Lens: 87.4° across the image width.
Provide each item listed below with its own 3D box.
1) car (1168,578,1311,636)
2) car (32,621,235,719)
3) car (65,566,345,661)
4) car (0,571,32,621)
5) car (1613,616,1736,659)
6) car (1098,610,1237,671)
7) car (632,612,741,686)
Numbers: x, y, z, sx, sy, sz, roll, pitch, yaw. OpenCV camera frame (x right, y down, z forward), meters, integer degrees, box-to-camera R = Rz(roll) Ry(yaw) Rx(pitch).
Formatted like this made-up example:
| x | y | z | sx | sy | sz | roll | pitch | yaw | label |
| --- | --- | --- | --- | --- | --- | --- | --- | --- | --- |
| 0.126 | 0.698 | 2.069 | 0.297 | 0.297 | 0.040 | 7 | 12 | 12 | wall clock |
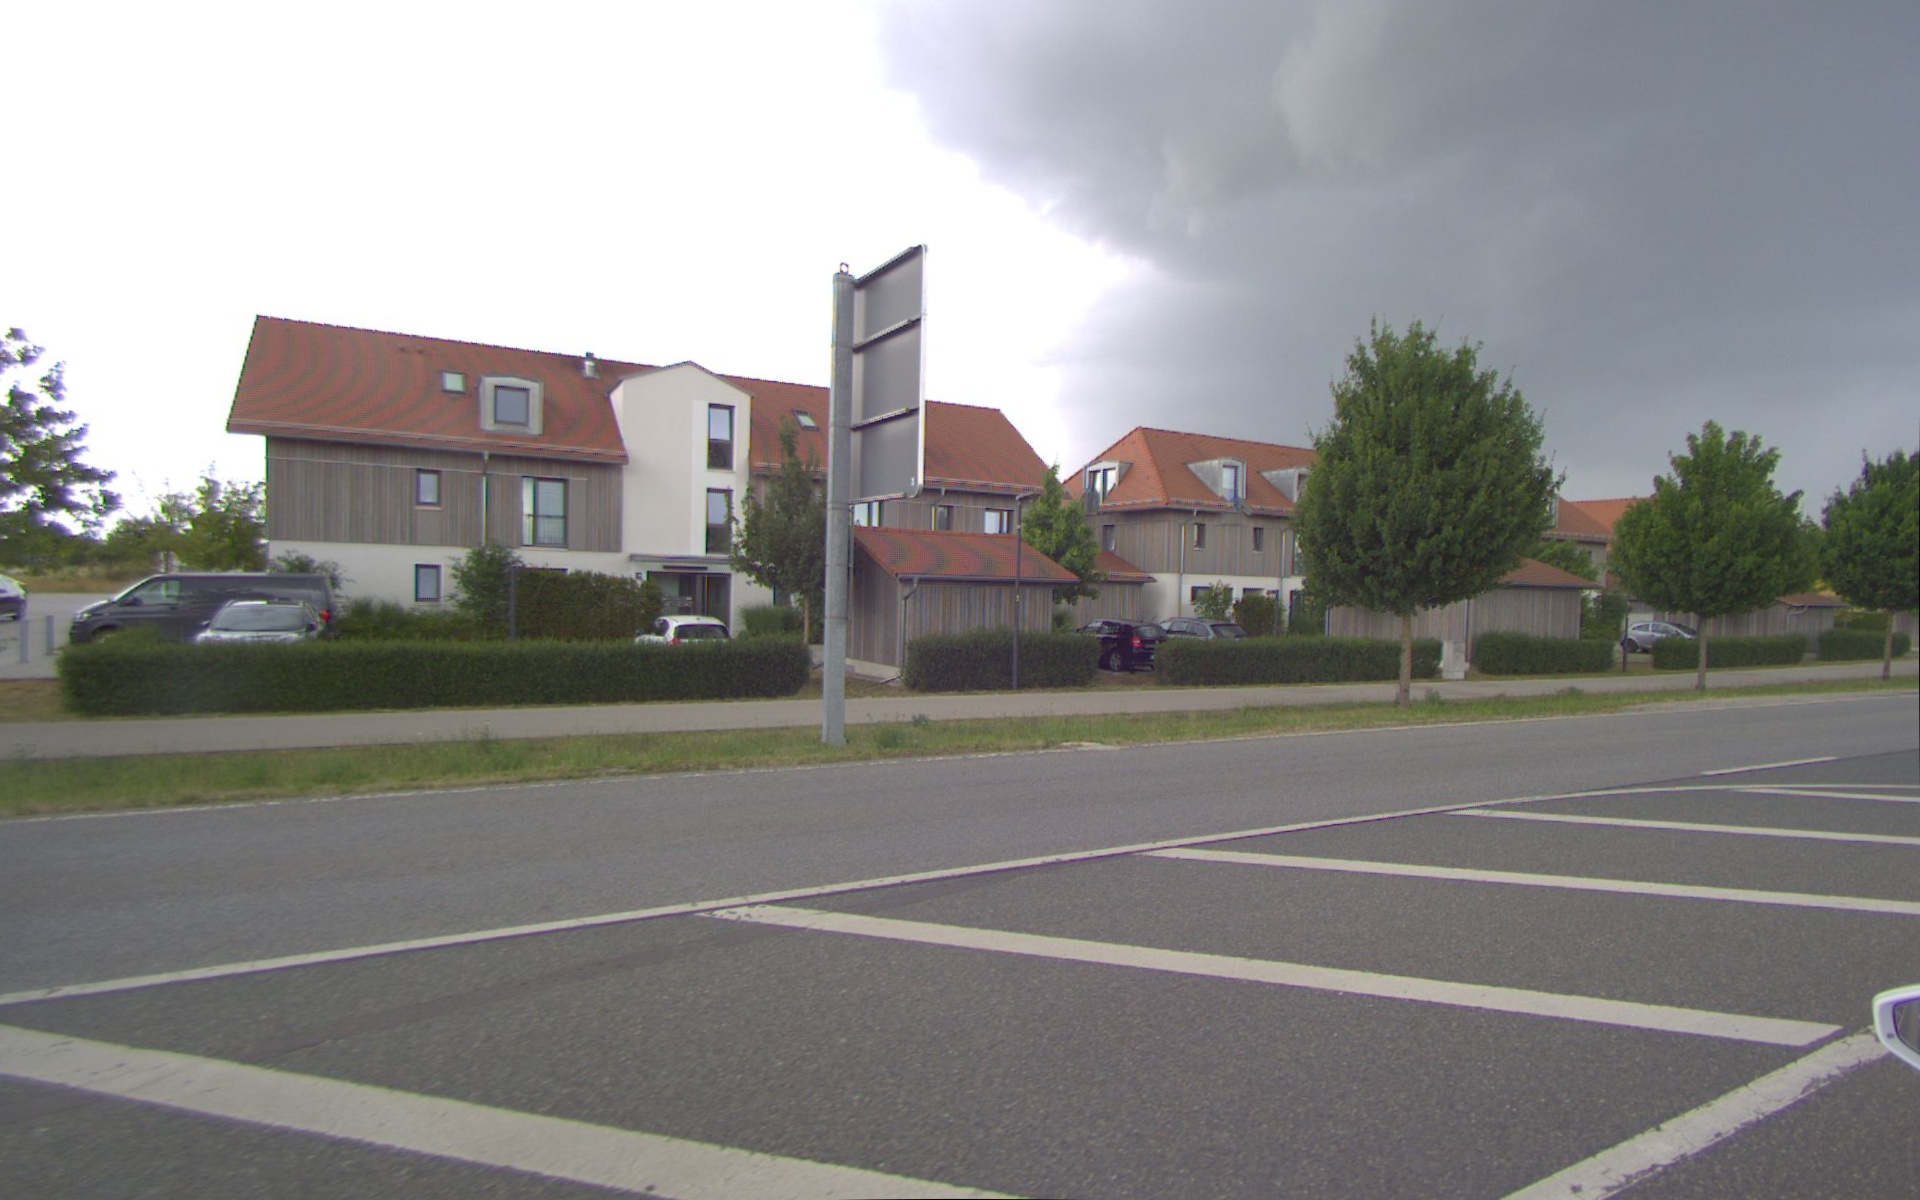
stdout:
| x | y | z | sx | sy | sz | roll | pitch | yaw | label |
| --- | --- | --- | --- | --- | --- | --- | --- | --- | --- |
| 8.333 | 0.220 | 30.263 | 1.975 | 1.639 | 3.971 | 1 | -1 | -28 | car |
| -14.649 | 1.133 | 18.127 | 1.882 | 1.449 | 4.885 | 1 | -1 | -28 | car |
| -18.066 | 0.303 | 24.427 | 5.133 | 2.041 | 1.986 | 1 | 4 | -27 | car |
| -31.806 | -0.145 | 32.207 | 1.975 | 1.607 | 3.972 | 1 | -1 | -27 | car |
| 31.791 | 1.641 | 44.828 | 1.975 | 1.577 | 3.970 | 1 | 2 | -28 | car |
| 6.031 | 1.144 | 29.643 | 1.975 | 1.639 | 3.971 | 1 | -1 | -28 | car |
| -6.201 | 1.033 | 22.548 | 1.545 | 1.509 | 3.498 | 1 | -1 | -29 | car |
